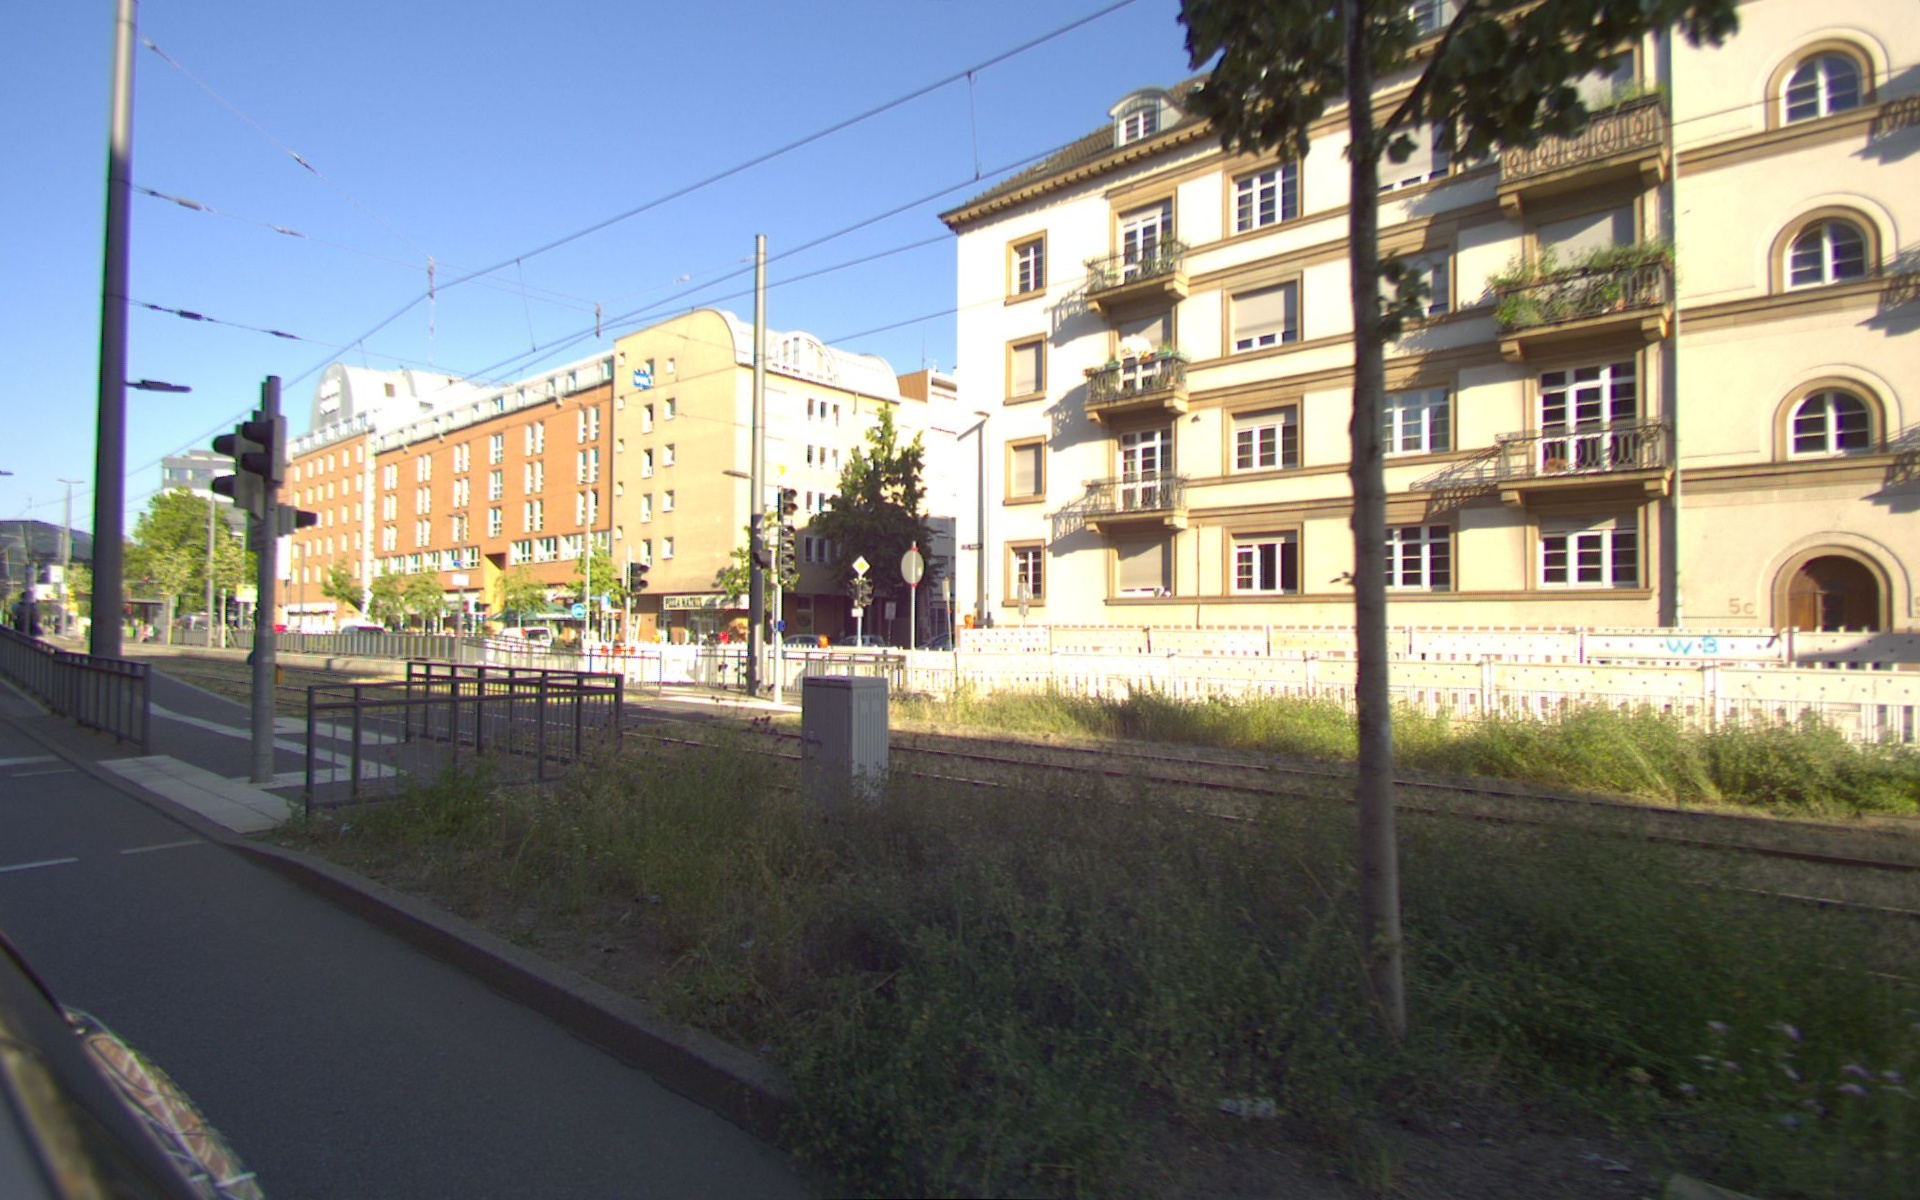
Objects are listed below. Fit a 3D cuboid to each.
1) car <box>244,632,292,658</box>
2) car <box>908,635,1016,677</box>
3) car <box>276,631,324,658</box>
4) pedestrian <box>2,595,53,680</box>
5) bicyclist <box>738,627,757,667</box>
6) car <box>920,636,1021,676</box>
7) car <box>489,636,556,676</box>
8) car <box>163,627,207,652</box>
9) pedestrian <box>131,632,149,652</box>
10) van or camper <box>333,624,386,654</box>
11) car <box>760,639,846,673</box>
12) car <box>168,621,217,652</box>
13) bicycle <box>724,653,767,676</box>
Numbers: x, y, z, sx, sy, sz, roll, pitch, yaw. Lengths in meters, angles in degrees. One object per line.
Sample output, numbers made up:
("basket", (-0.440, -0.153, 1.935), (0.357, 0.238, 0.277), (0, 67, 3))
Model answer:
("car", (-51.992, 3.416, 75.977), (4.312, 1.881, 1.866), (-3, -4, 40))
("car", (0.057, 2.258, 40.768), (4.122, 1.597, 1.821), (-2, -4, 36))
("car", (-46.253, 3.135, 70.895), (4.316, 1.881, 1.865), (-3, -4, 44))
("pedestrian", (-18.802, 0.744, 20.403), (0.867, 1.655, 0.648), (0, -2, 41))
("bicyclist", (-9.050, 1.989, 43.083), (0.665, 1.693, 0.481), (-2, -3, 37))
("car", (0.440, 2.371, 42.914), (3.992, 1.597, 1.821), (-2, -4, 36))
("car", (-23.084, 2.948, 53.325), (1.970, 2.029, 4.151), (3, -4, -43))
("car", (-72.482, 3.681, 94.630), (5.260, 2.307, 2.058), (-1, -3, 40))
("pedestrian", (-51.292, 2.636, 63.295), (0.906, 1.199, 0.666), (-2, -3, 41))
("van or camper", (-46.356, 3.043, 78.055), (5.615, 2.186, 1.972), (-4, -5, 43))
("car", (-7.740, 2.754, 49.835), (4.148, 1.597, 1.821), (-2, -4, 36))
("car", (-60.555, 2.850, 79.834), (4.917, 2.376, 2.024), (-2, -3, 41))
("bicycle", (-9.100, 2.723, 42.985), (0.684, 0.955, 1.720), (-2, -3, 37))
